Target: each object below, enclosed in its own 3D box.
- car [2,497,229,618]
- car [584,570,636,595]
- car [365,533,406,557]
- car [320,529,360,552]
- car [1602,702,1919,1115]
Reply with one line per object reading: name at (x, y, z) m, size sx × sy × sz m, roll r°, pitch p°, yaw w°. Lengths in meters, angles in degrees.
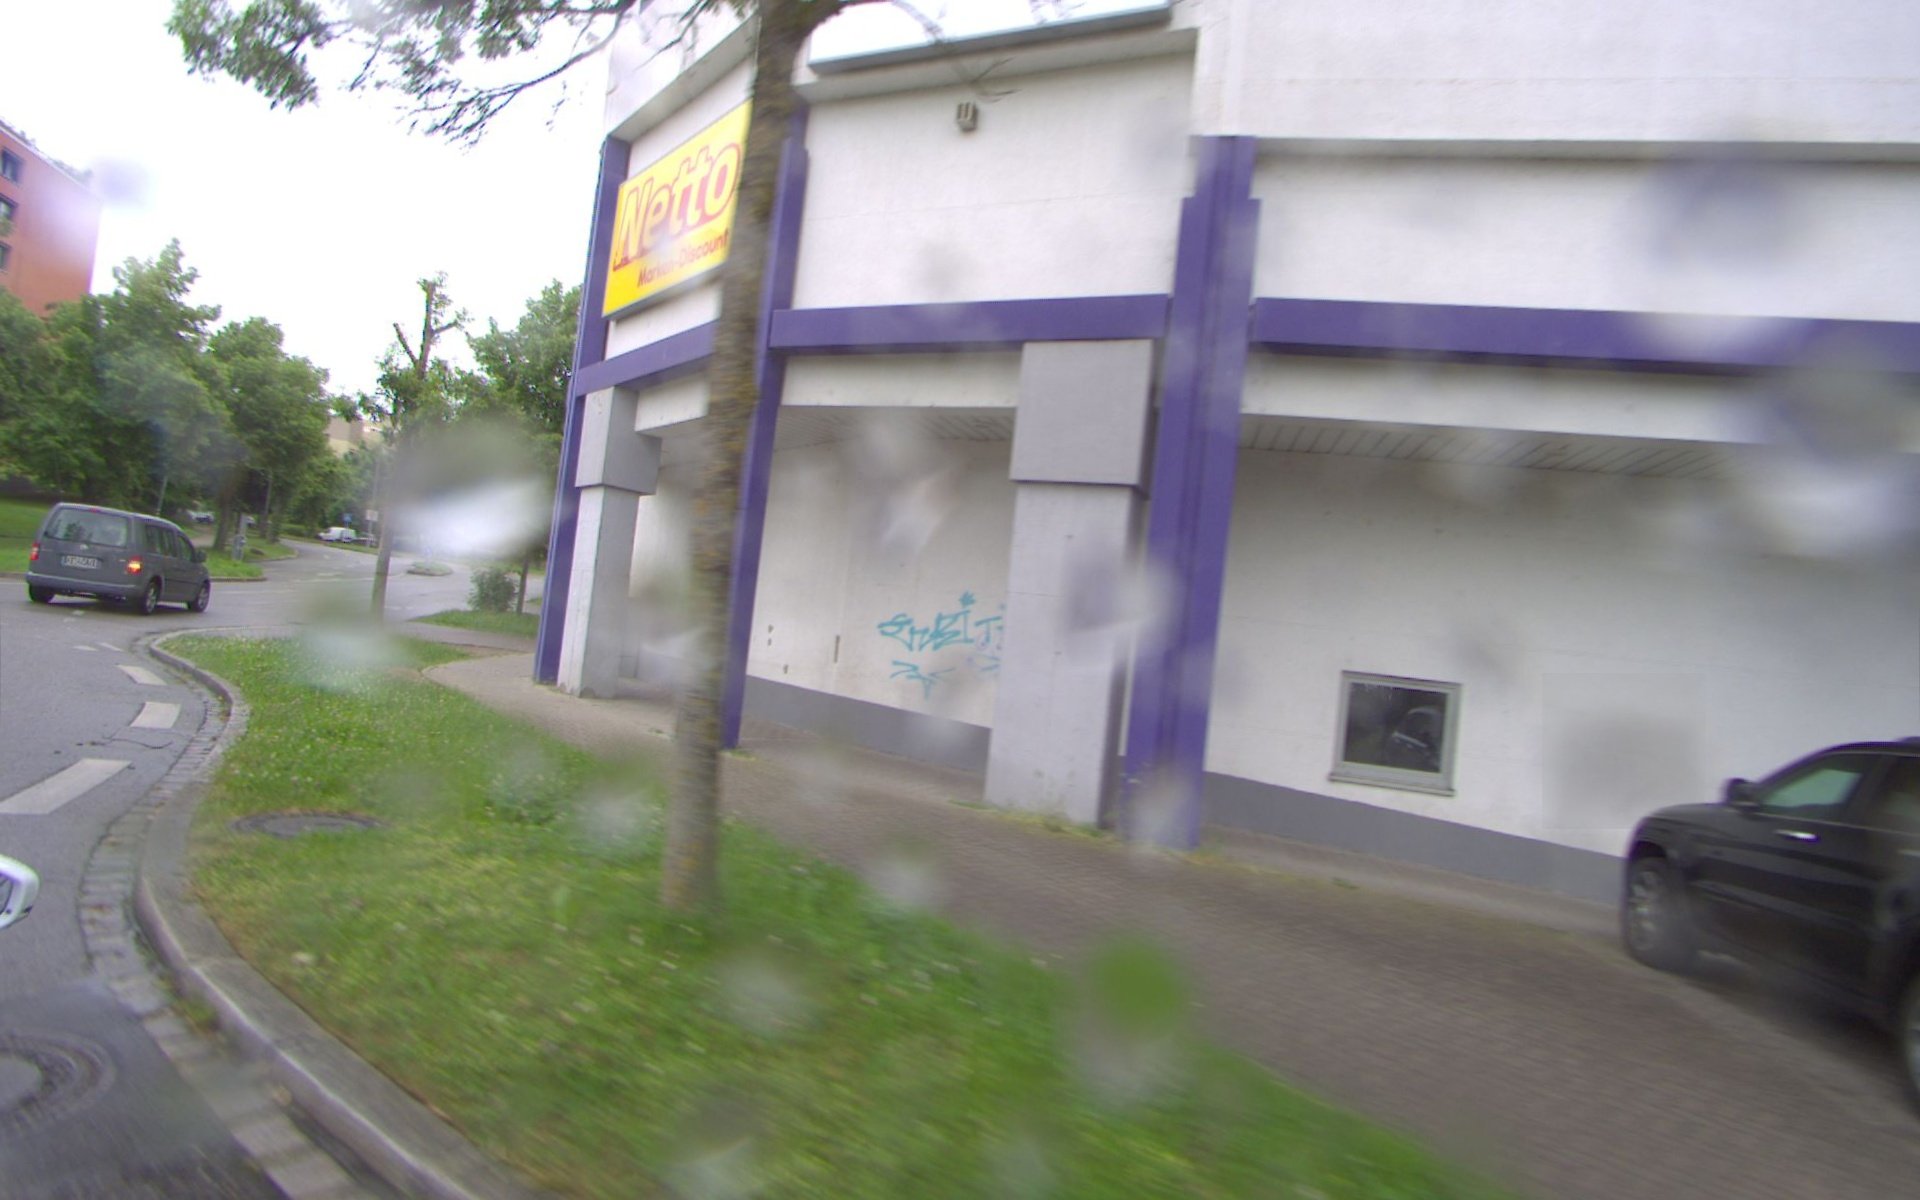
car at (-15.950, -0.786, 19.279) m, size 1.897 × 1.823 × 3.774 m, roll 8°, pitch 0°, yaw -18°
car at (-30.445, -1.536, 87.495) m, size 3.956 × 1.583 × 1.874 m, roll 9°, pitch -3°, yaw -28°
car at (-56.263, -5.405, 98.504) m, size 3.802 × 1.894 × 1.848 m, roll 5°, pitch -3°, yaw 35°
car at (-63.662, -6.121, 103.313) m, size 3.940 × 1.894 × 1.995 m, roll 5°, pitch -3°, yaw 37°
car at (5.458, 1.628, 5.292) m, size 1.794 × 1.778 × 4.399 m, roll 9°, pitch -2°, yaw 11°
